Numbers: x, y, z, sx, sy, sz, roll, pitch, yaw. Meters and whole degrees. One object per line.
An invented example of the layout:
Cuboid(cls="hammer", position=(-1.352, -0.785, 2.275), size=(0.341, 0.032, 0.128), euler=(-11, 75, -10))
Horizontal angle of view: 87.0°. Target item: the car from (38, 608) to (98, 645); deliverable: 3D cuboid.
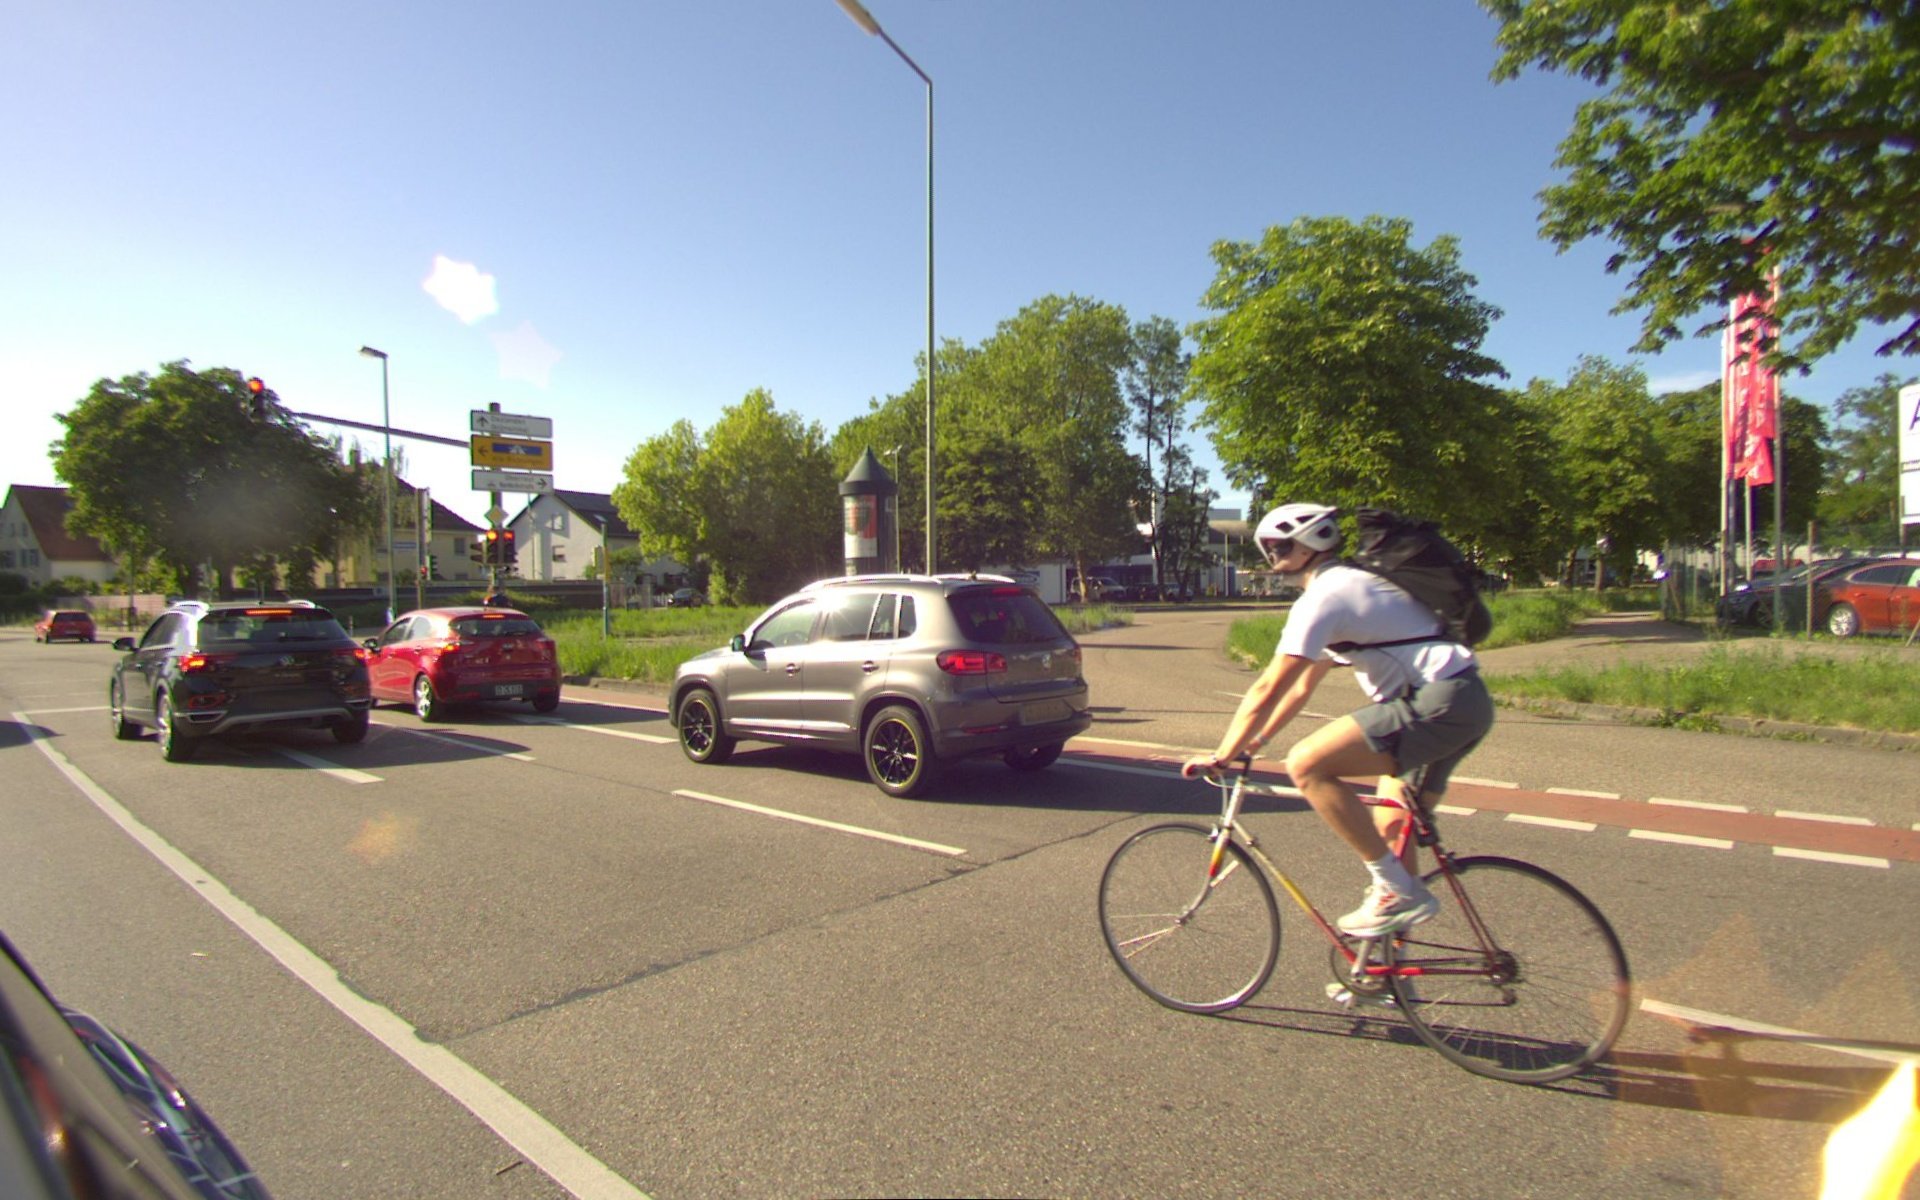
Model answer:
Cuboid(cls="car", position=(-39.136, 1.139, 44.373), size=(1.835, 1.481, 4.143), euler=(-1, 1, -43))

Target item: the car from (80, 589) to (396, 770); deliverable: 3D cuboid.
Cuboid(cls="car", position=(-8.007, 0.745, 11.097), size=(3.997, 1.611, 1.894), euler=(-1, 0, 40))

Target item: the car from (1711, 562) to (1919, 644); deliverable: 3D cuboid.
Cuboid(cls="car", position=(21.644, 0.076, 25.623), size=(4.001, 1.900, 1.971), euler=(-1, 0, 44))

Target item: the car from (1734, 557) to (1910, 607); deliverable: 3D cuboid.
Cuboid(cls="car", position=(27.146, -0.558, 31.961), size=(1.811, 1.419, 4.005), euler=(-2, 0, -42))

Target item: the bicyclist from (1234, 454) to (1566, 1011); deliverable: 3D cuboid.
Cuboid(cls="bicyclist", position=(1.436, 0.359, 3.268), size=(0.823, 1.496, 0.766), euler=(-2, 0, 34))

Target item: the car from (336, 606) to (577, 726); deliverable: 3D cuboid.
Cuboid(cls="car", position=(-7.143, 0.820, 14.201), size=(3.890, 1.425, 1.765), euler=(-1, 0, 43))

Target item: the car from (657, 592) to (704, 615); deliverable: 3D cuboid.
Cuboid(cls="car", position=(-21.081, 0.228, 76.419), size=(1.977, 1.568, 3.990), euler=(-2, 0, 8))

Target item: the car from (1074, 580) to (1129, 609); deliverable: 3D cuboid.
Cuboid(cls="car", position=(10.629, -0.388, 76.321), size=(1.966, 2.029, 4.011), euler=(-2, 0, -32))

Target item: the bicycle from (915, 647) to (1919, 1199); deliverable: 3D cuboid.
Cuboid(cls="bicycle", position=(1.380, 0.807, 3.307), size=(3.204, 1.235, 0.786), euler=(-1, 0, 34))

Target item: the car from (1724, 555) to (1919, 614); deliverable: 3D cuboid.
Cuboid(cls="car", position=(23.346, -0.388, 27.434), size=(4.001, 1.452, 1.971), euler=(-1, 0, 44))

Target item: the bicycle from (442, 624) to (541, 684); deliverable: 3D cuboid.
Cuboid(cls="bicycle", position=(-8.789, 0.982, 18.947), size=(2.197, 1.024, 0.927), euler=(-2, 0, 44))

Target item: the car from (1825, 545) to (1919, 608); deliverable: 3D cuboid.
Cuboid(cls="car", position=(31.957, -0.808, 34.028), size=(1.967, 2.029, 4.009), euler=(-2, 0, -36))

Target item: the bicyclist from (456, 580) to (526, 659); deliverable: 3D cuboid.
Cuboid(cls="bicyclist", position=(-8.763, 0.359, 18.902), size=(0.822, 1.412, 0.923), euler=(-2, 0, 43))

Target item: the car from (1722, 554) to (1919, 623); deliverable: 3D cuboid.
Cuboid(cls="car", position=(20.016, -0.241, 23.102), size=(4.001, 1.473, 1.720), euler=(-1, 0, 44))

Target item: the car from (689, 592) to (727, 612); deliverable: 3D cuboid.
Cuboid(cls="car", position=(-22.177, 0.171, 89.300), size=(1.940, 1.678, 3.992), euler=(-1, 0, 7))

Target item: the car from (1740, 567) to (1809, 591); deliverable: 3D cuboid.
Cuboid(cls="car", position=(55.079, -1.424, 68.415), size=(3.931, 1.460, 2.007), euler=(-2, 2, -23))

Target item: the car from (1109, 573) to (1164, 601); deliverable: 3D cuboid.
Cuboid(cls="car", position=(13.677, -1.018, 78.421), size=(1.966, 2.029, 4.011), euler=(-2, 0, -32))

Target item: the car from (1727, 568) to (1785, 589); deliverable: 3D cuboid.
Cuboid(cls="car", position=(58.317, -1.610, 74.147), size=(3.423, 1.451, 1.879), euler=(-2, 2, -23))

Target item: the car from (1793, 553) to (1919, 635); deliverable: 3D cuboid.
Cuboid(cls="car", position=(16.640, -0.132, 16.421), size=(2.332, 1.320, 5.052), euler=(-2, 0, 6))

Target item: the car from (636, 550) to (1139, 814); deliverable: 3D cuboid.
Cuboid(cls="car", position=(-0.799, 0.582, 8.797), size=(4.267, 1.749, 1.834), euler=(-2, 0, 40))

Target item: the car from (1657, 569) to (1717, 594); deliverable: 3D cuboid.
Cuboid(cls="car", position=(52.270, -1.349, 72.741), size=(3.931, 1.631, 1.744), euler=(-2, 2, -23))

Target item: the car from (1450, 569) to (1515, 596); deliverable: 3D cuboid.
Cuboid(cls="car", position=(37.948, -1.240, 73.560), size=(3.931, 1.809, 2.016), euler=(-2, 0, -19))
